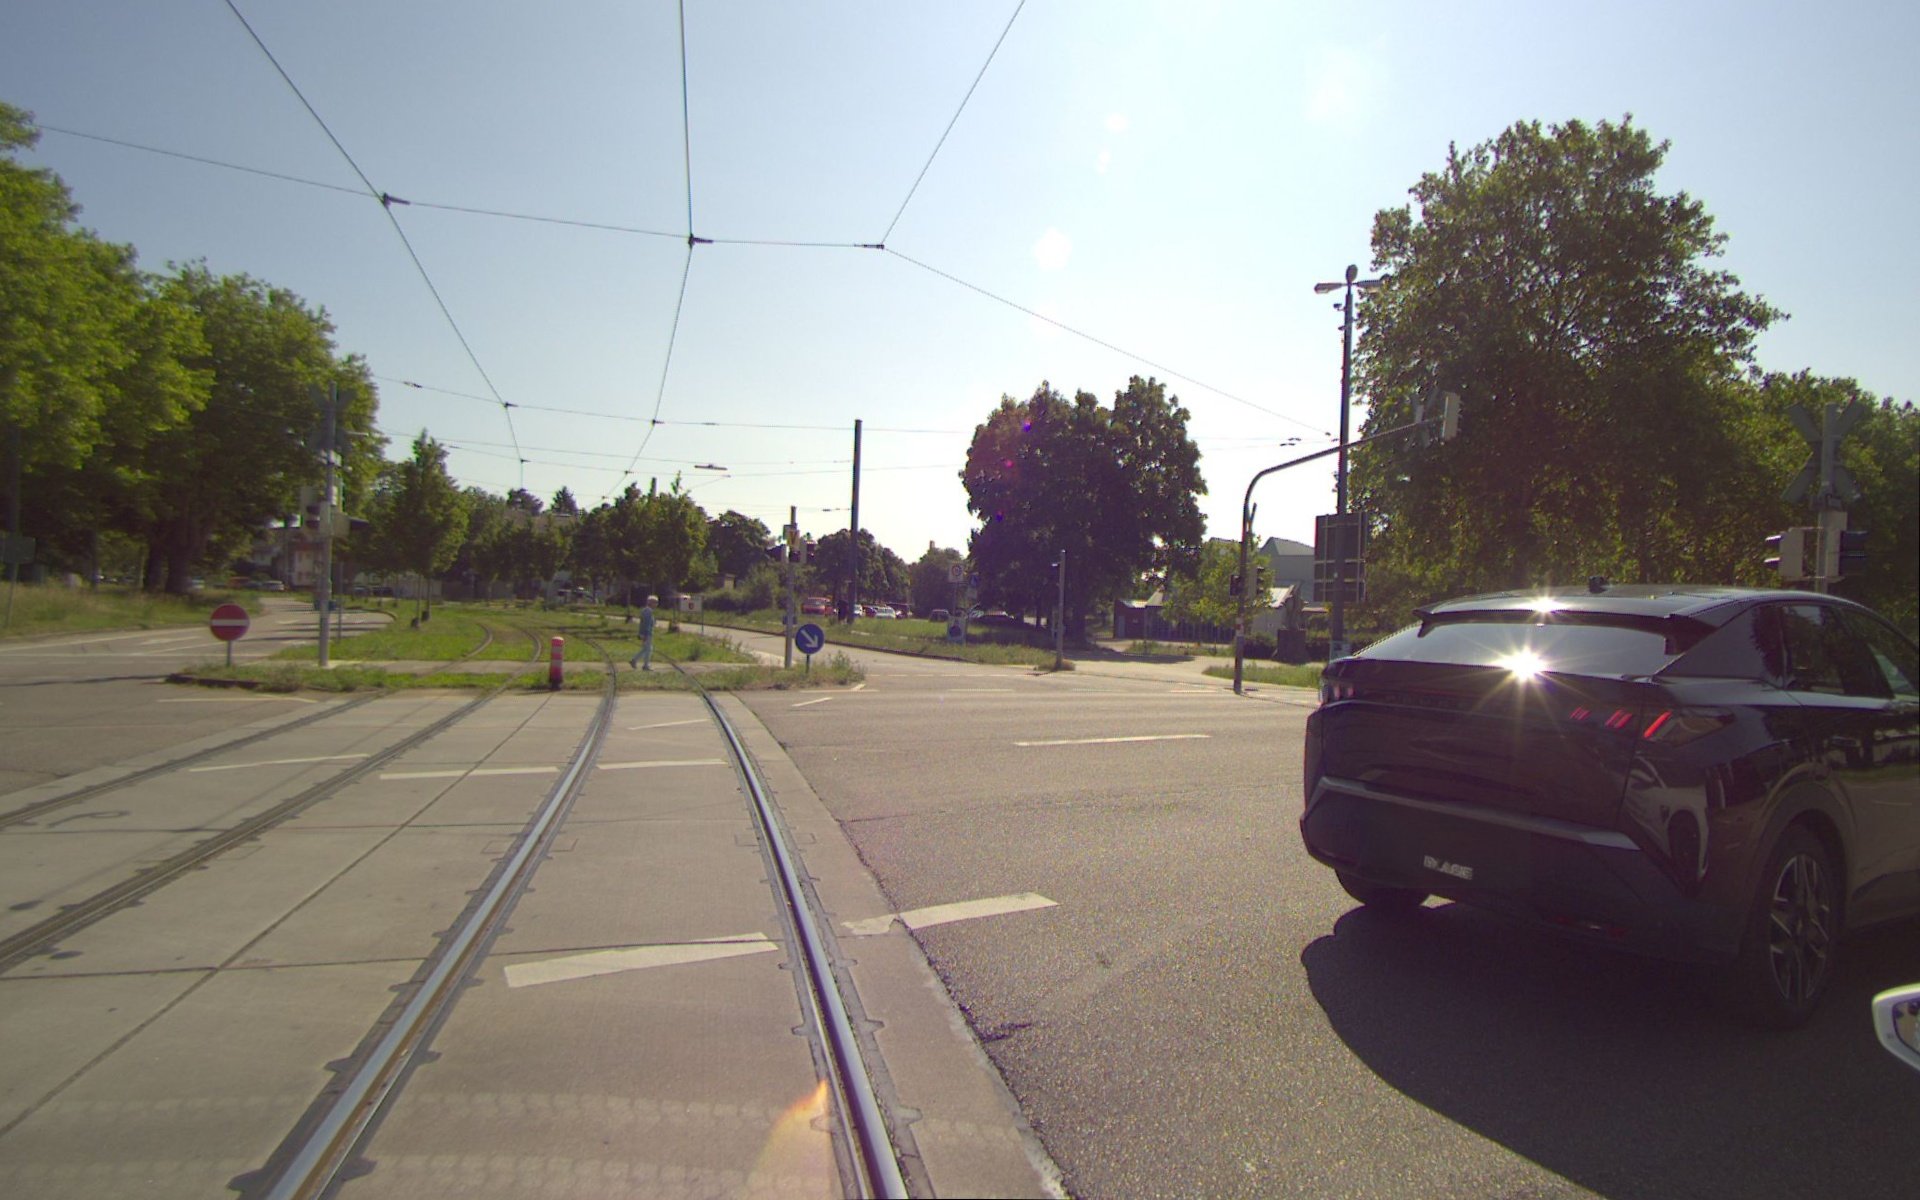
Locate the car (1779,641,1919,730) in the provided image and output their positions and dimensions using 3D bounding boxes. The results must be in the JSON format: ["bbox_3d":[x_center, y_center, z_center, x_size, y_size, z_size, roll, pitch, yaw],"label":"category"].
[{"bbox_3d":[18.045,1.609,19.603,4.076,1.528,1.688,2,0,-27],"label":"car"}]

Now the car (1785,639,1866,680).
[{"bbox_3d":[36.516,2.482,42.349,4.391,1.610,1.697,2,-2,-36],"label":"car"}]

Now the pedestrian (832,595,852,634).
[{"bbox_3d":[-6.246,0.748,53.024,0.706,2.040,0.786,1,0,-40],"label":"pedestrian"}]

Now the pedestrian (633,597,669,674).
[{"bbox_3d":[-6.446,0.734,20.951,0.659,1.582,0.364,2,0,-21],"label":"pedestrian"}]

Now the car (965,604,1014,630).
[{"bbox_3d":[2.489,1.421,84.965,3.925,2.040,1.816,2,0,-7],"label":"car"}]

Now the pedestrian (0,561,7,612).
[{"bbox_3d":[-40.253,-0.569,41.784,0.747,2.118,0.613,2,0,-34],"label":"pedestrian"}]

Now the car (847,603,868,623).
[{"bbox_3d":[-7.989,0.977,78.472,1.322,1.466,3.341,2,0,-1],"label":"car"}]

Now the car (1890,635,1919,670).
[{"bbox_3d":[76.375,4.211,80.799,2.039,2.648,7.172,0,-2,45],"label":"car"}]

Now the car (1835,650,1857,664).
[{"bbox_3d":[108.478,6.916,122.924,4.368,1.576,1.776,2,-2,-45],"label":"car"}]

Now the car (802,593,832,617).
[{"bbox_3d":[-11.150,0.400,78.769,1.779,1.725,3.987,2,0,-1],"label":"car"}]

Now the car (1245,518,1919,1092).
[{"bbox_3d":[3.665,0.733,4.971,4.385,1.718,1.863,3,-3,-31],"label":"car"}]

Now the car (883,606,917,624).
[{"bbox_3d":[-6.957,1.731,116.563,3.855,1.863,1.768,2,0,-6],"label":"car"}]

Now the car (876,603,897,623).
[{"bbox_3d":[-5.702,1.029,78.457,1.420,1.466,3.341,2,0,-1],"label":"car"}]
